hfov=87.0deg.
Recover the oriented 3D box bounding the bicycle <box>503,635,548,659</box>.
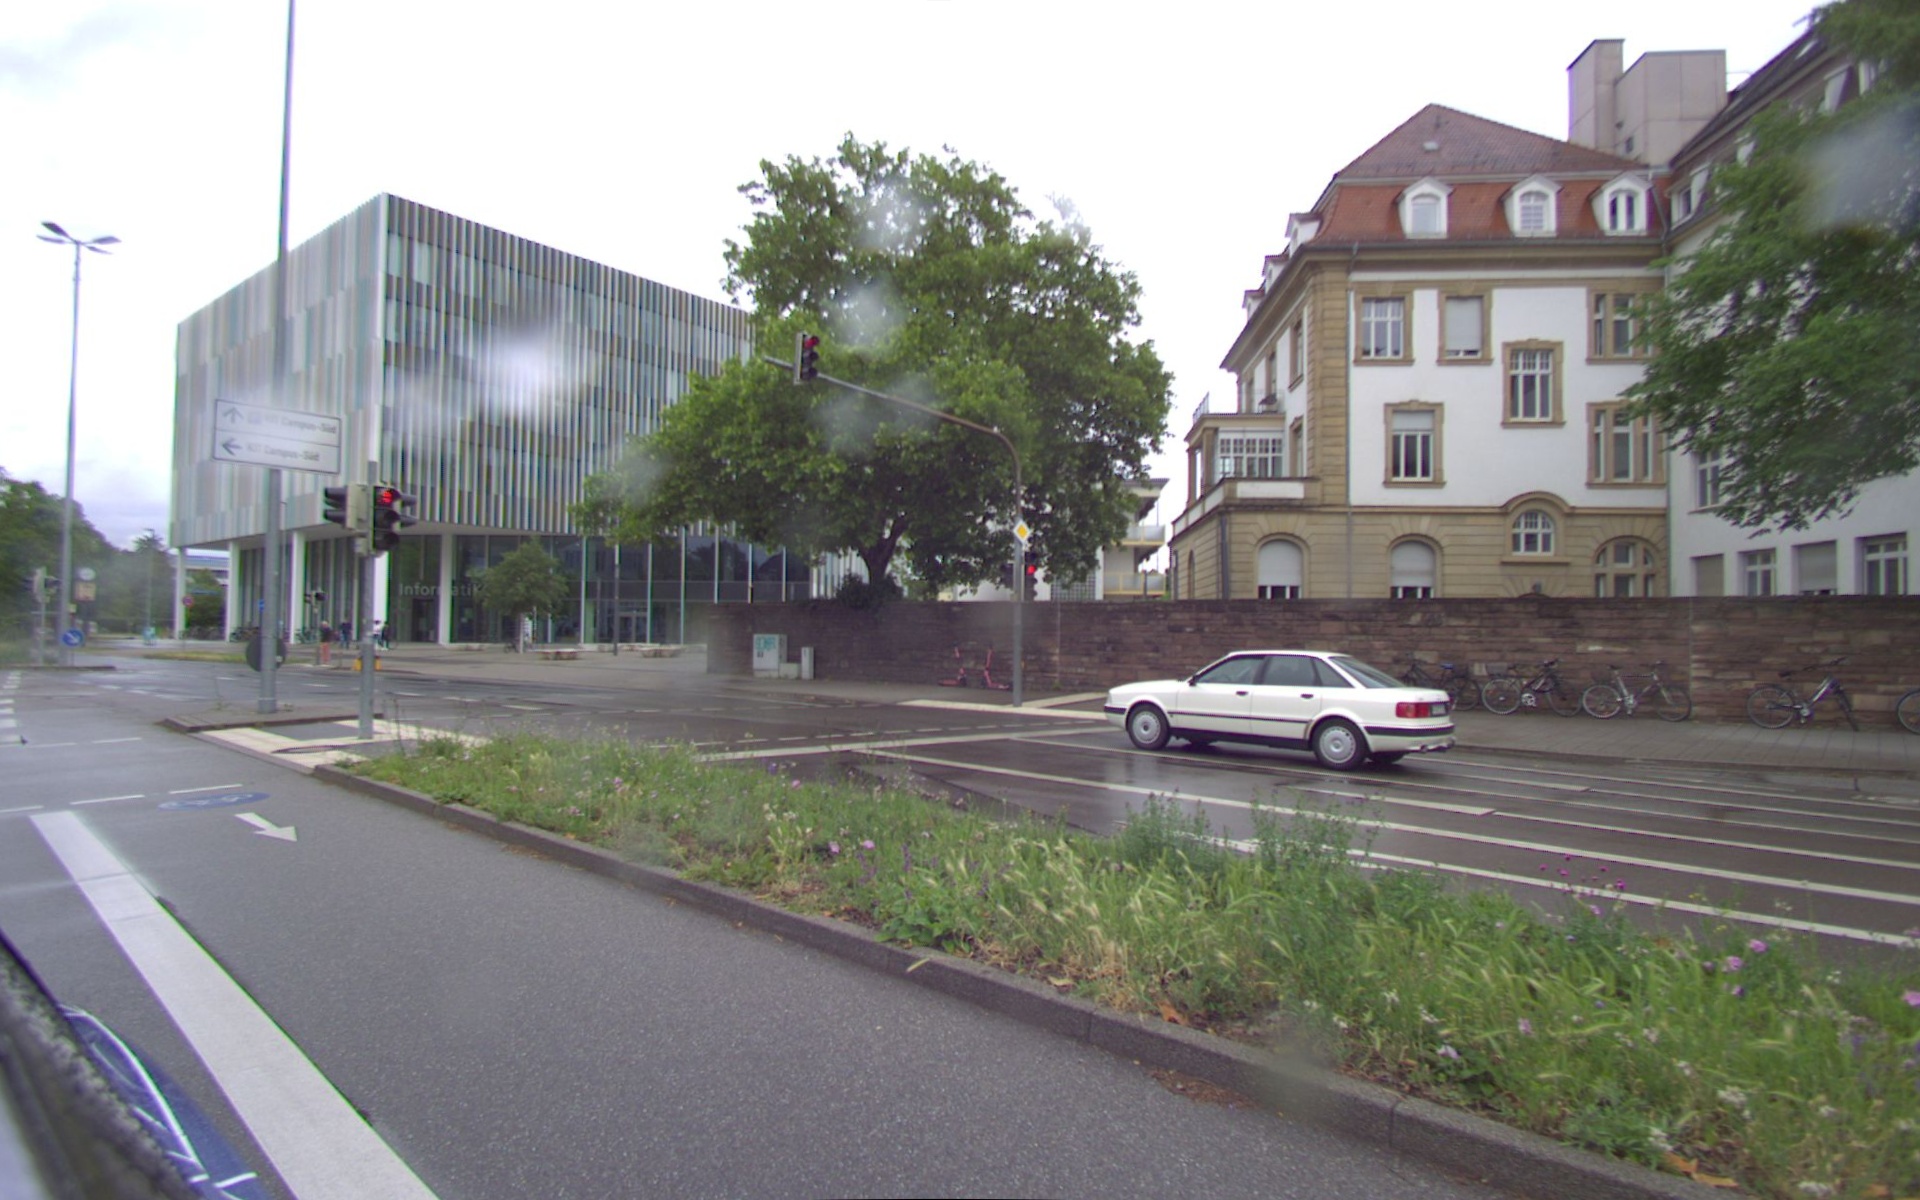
[{"bbox_3d":[-22.632,2.448,52.744,0.596,1.231,2.263,-1,-3,29],"label":"bicycle"}]

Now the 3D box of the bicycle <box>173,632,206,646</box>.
[{"bbox_3d":[-68.136,3.474,89.525,2.249,1.231,0.600,2,-3,-39],"label":"bicycle"}]

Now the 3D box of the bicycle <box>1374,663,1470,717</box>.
[{"bbox_3d":[9.303,1.788,20.390,1.695,0.990,0.726,-1,-2,31],"label":"bicycle"}]

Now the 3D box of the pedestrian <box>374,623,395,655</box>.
[{"bbox_3d":[-33.183,2.258,58.360,0.619,1.838,0.782,0,-3,18],"label":"pedestrian"}]

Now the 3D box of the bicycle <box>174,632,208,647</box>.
[{"bbox_3d":[-66.604,3.413,87.677,2.249,1.231,0.600,2,-3,-39],"label":"bicycle"}]

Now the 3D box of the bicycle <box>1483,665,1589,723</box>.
[{"bbox_3d":[10.826,1.748,19.059,1.695,0.990,0.726,-1,-2,31],"label":"bicycle"}]

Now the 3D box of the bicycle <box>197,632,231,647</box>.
[{"bbox_3d":[-62.483,3.336,84.778,2.249,1.231,0.600,2,-3,-39],"label":"bicycle"}]

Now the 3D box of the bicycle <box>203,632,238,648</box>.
[{"bbox_3d":[-60.977,3.298,83.494,2.249,1.231,0.600,2,-3,-39],"label":"bicycle"}]

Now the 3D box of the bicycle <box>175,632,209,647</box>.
[{"bbox_3d":[-65.694,3.378,86.604,2.249,1.231,0.600,2,-3,-39],"label":"bicycle"}]

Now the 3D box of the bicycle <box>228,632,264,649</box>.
[{"bbox_3d":[-55.406,3.150,78.539,2.249,1.231,0.600,2,-3,-39],"label":"bicycle"}]

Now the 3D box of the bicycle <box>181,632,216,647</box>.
[{"bbox_3d":[-64.180,3.340,85.305,2.249,1.231,0.600,2,-3,-39],"label":"bicycle"}]

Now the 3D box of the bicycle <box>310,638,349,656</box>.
[{"bbox_3d":[-43.451,3.254,69.796,0.596,1.231,2.263,-1,-3,29],"label":"bicycle"}]

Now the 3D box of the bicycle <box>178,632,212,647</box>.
[{"bbox_3d":[-64.871,3.356,85.858,2.249,1.231,0.600,2,-3,-39],"label":"bicycle"}]

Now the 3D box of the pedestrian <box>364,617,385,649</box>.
[{"bbox_3d":[-34.273,1.923,59.267,0.619,1.838,0.782,0,-3,18],"label":"pedestrian"}]

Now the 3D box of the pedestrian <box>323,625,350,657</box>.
[{"bbox_3d":[-36.995,2.425,60.069,0.914,1.838,0.936,0,-3,11],"label":"pedestrian"}]

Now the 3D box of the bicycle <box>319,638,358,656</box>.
[{"bbox_3d":[-42.777,3.254,69.639,0.596,1.231,2.263,-1,-3,29],"label":"bicycle"}]

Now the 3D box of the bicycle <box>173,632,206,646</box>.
[{"bbox_3d":[-67.695,3.452,88.884,2.249,1.231,0.600,2,-3,-39],"label":"bicycle"}]

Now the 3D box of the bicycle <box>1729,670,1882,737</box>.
[{"bbox_3d":[13.938,1.685,16.762,1.860,0.990,0.725,-1,-2,35],"label":"bicycle"}]

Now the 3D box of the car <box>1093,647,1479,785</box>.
[{"bbox_3d":[4.041,1.374,13.108,4.524,1.426,1.578,-1,-4,43],"label":"car"}]

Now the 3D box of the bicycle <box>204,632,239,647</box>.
[{"bbox_3d":[-61.360,3.320,84.113,2.249,1.231,0.600,2,-3,-39],"label":"bicycle"}]

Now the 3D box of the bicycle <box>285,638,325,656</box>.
[{"bbox_3d":[-45.842,3.272,70.849,0.596,1.231,2.263,-1,-3,29],"label":"bicycle"}]

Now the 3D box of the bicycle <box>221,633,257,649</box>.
[{"bbox_3d":[-56.760,3.200,79.667,2.249,1.231,0.600,2,-3,-39],"label":"bicycle"}]

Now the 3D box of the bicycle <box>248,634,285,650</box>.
[{"bbox_3d":[-52.764,3.185,77.061,2.249,1.231,0.600,2,-3,-39],"label":"bicycle"}]

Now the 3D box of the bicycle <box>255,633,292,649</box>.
[{"bbox_3d":[-51.353,3.074,75.716,2.249,1.231,0.600,2,-3,-39],"label":"bicycle"}]

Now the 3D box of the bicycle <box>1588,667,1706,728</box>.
[{"bbox_3d":[12.369,1.732,18.279,1.695,0.990,0.726,-1,-2,31],"label":"bicycle"}]

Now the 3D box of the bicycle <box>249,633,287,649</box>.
[{"bbox_3d":[-52.182,3.092,76.338,2.249,1.231,0.600,2,-3,-39],"label":"bicycle"}]

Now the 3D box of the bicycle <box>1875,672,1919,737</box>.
[{"bbox_3d":[15.621,1.655,15.913,1.695,0.990,0.726,-1,-2,31],"label":"bicycle"}]

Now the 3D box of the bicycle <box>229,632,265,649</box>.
[{"bbox_3d":[-54.872,3.128,77.894,2.249,1.231,0.600,2,-3,-39],"label":"bicycle"}]

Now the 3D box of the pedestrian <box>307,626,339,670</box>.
[{"bbox_3d":[-27.405,2.058,43.540,0.789,1.838,0.782,0,-3,18],"label":"pedestrian"}]

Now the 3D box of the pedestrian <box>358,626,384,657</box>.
[{"bbox_3d":[-35.175,2.461,60.457,0.916,1.838,0.934,0,-3,18],"label":"pedestrian"}]

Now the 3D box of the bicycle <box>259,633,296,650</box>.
[{"bbox_3d":[-50.557,3.052,74.975,2.249,1.231,0.600,2,-3,-39],"label":"bicycle"}]

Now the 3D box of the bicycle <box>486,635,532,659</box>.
[{"bbox_3d":[-23.634,2.478,53.086,0.596,1.231,2.263,-1,-3,29],"label":"bicycle"}]

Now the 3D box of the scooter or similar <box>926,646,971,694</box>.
[{"bbox_3d":[-0.310,1.854,26.953,1.140,1.206,0.387,-1,4,37],"label":"scooter or similar"}]

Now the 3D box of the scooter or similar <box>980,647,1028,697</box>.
[{"bbox_3d":[1.131,1.822,25.825,1.139,1.206,0.387,-1,4,36],"label":"scooter or similar"}]

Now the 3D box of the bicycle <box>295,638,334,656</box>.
[{"bbox_3d":[-44.845,3.261,70.330,0.596,1.231,2.263,-1,-3,29],"label":"bicycle"}]
